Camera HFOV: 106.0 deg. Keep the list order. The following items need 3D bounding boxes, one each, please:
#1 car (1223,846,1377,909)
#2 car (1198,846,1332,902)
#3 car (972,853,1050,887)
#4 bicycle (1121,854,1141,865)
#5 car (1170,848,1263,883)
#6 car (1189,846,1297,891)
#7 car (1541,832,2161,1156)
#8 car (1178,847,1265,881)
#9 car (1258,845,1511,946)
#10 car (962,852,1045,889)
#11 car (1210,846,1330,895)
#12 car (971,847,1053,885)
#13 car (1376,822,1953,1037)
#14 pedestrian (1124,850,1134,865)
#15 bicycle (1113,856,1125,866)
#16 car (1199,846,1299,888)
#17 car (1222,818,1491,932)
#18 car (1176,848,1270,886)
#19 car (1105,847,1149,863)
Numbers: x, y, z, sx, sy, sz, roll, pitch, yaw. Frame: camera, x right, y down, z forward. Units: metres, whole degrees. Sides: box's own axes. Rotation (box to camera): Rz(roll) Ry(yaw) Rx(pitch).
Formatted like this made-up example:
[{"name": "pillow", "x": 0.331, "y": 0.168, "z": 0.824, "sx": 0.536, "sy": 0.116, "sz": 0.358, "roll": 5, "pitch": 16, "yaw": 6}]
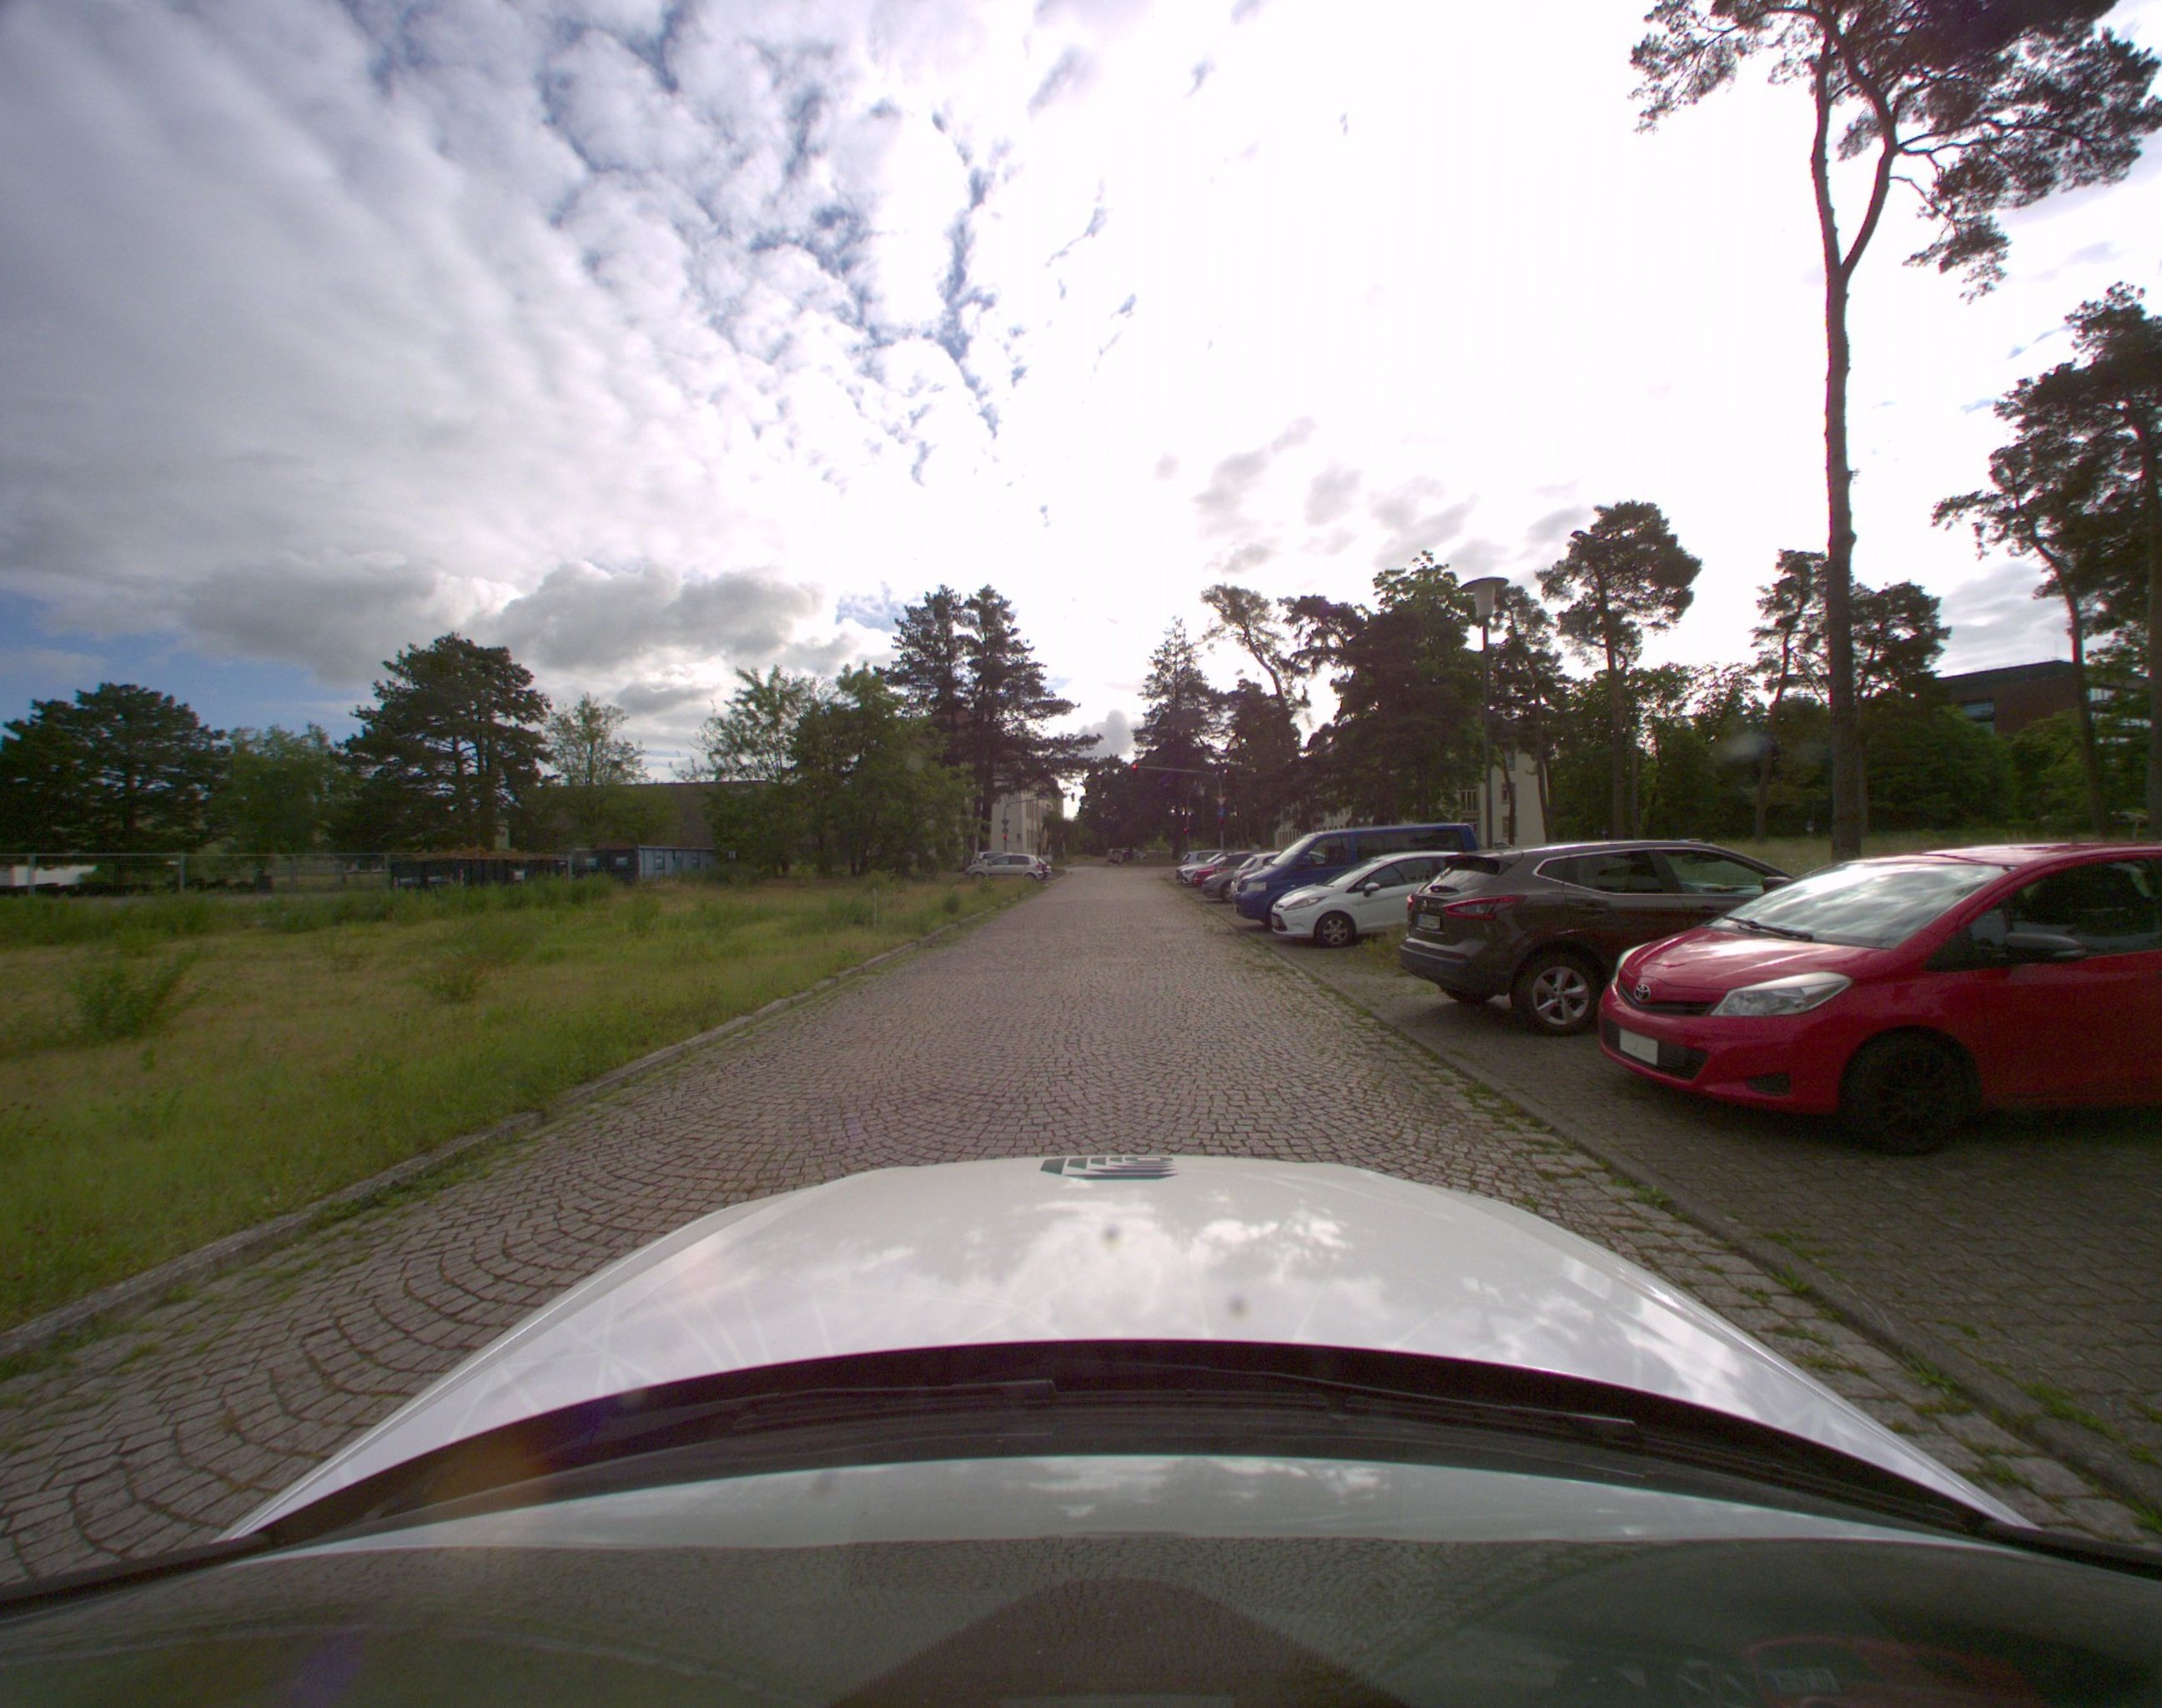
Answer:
[{"name": "car", "x": 5.781, "y": 0.616, "z": 21.725, "sx": 3.659, "sy": 1.449, "sz": 1.524, "roll": -3, "pitch": 0, "yaw": 0}, {"name": "car", "x": 5.484, "y": 0.586, "z": 24.518, "sx": 3.659, "sy": 1.449, "sz": 1.524, "roll": -3, "pitch": 0, "yaw": 0}, {"name": "car", "x": -3.566, "y": 0.813, "z": 41.934, "sx": 3.807, "sy": 1.572, "sz": 1.565, "roll": -3, "pitch": 0, "yaw": 1}, {"name": "bicycle", "x": 5.454, "y": 0.616, "z": 89.263, "sx": 2.131, "sy": 1.214, "sz": 0.621, "roll": -1, "pitch": 0, "yaw": -2}, {"name": "car", "x": 6.227, "y": 0.522, "z": 37.596, "sx": 3.958, "sy": 1.421, "sz": 1.618, "roll": -3, "pitch": 0, "yaw": -2}, {"name": "car", "x": 5.960, "y": 0.530, "z": 30.203, "sx": 3.659, "sy": 1.449, "sz": 1.524, "roll": -3, "pitch": 0, "yaw": 0}, {"name": "car", "x": 5.139, "y": 0.673, "z": 4.838, "sx": 3.777, "sy": 1.460, "sz": 1.752, "roll": -3, "pitch": 0, "yaw": 2}, {"name": "car", "x": 6.915, "y": 0.484, "z": 40.226, "sx": 3.958, "sy": 1.421, "sz": 1.618, "roll": -3, "pitch": 0, "yaw": -2}, {"name": "car", "x": 5.045, "y": 0.670, "z": 13.870, "sx": 3.660, "sy": 1.449, "sz": 1.614, "roll": -3, "pitch": 0, "yaw": 0}, {"name": "car", "x": -3.718, "y": 0.781, "z": 39.519, "sx": 3.810, "sy": 1.572, "sz": 1.564, "roll": -3, "pitch": 0, "yaw": -1}, {"name": "car", "x": 6.316, "y": 0.547, "z": 27.481, "sx": 3.659, "sy": 1.449, "sz": 1.524, "roll": -3, "pitch": 0, "yaw": 0}, {"name": "car", "x": -3.783, "y": 0.653, "z": 44.933, "sx": 4.246, "sy": 1.840, "sz": 1.744, "roll": -3, "pitch": 0, "yaw": 1}, {"name": "car", "x": 5.056, "y": 0.612, "z": 7.485, "sx": 4.016, "sy": 1.552, "sz": 1.751, "roll": -3, "pitch": 0, "yaw": 0}, {"name": "pedestrian", "x": 5.267, "y": 0.412, "z": 89.614, "sx": 1.031, "sy": 1.614, "sz": 0.757, "roll": -1, "pitch": 0, "yaw": -2}, {"name": "bicycle", "x": 3.971, "y": 0.736, "z": 85.240, "sx": 0.623, "sy": 0.945, "sz": 1.649, "roll": 0, "pitch": 0, "yaw": -25}, {"name": "car", "x": 6.650, "y": 0.515, "z": 32.467, "sx": 3.659, "sy": 1.449, "sz": 1.524, "roll": -3, "pitch": 0, "yaw": 0}, {"name": "car", "x": 5.400, "y": 0.405, "z": 16.454, "sx": 4.738, "sy": 1.954, "sz": 1.931, "roll": -3, "pitch": 0, "yaw": 0}, {"name": "car", "x": 6.013, "y": 0.526, "z": 34.744, "sx": 3.662, "sy": 1.421, "sz": 1.522, "roll": -3, "pitch": 0, "yaw": -2}, {"name": "car", "x": 6.026, "y": 0.164, "z": 107.176, "sx": 5.440, "sy": 2.013, "sz": 2.263, "roll": -1, "pitch": 0, "yaw": -7}]
